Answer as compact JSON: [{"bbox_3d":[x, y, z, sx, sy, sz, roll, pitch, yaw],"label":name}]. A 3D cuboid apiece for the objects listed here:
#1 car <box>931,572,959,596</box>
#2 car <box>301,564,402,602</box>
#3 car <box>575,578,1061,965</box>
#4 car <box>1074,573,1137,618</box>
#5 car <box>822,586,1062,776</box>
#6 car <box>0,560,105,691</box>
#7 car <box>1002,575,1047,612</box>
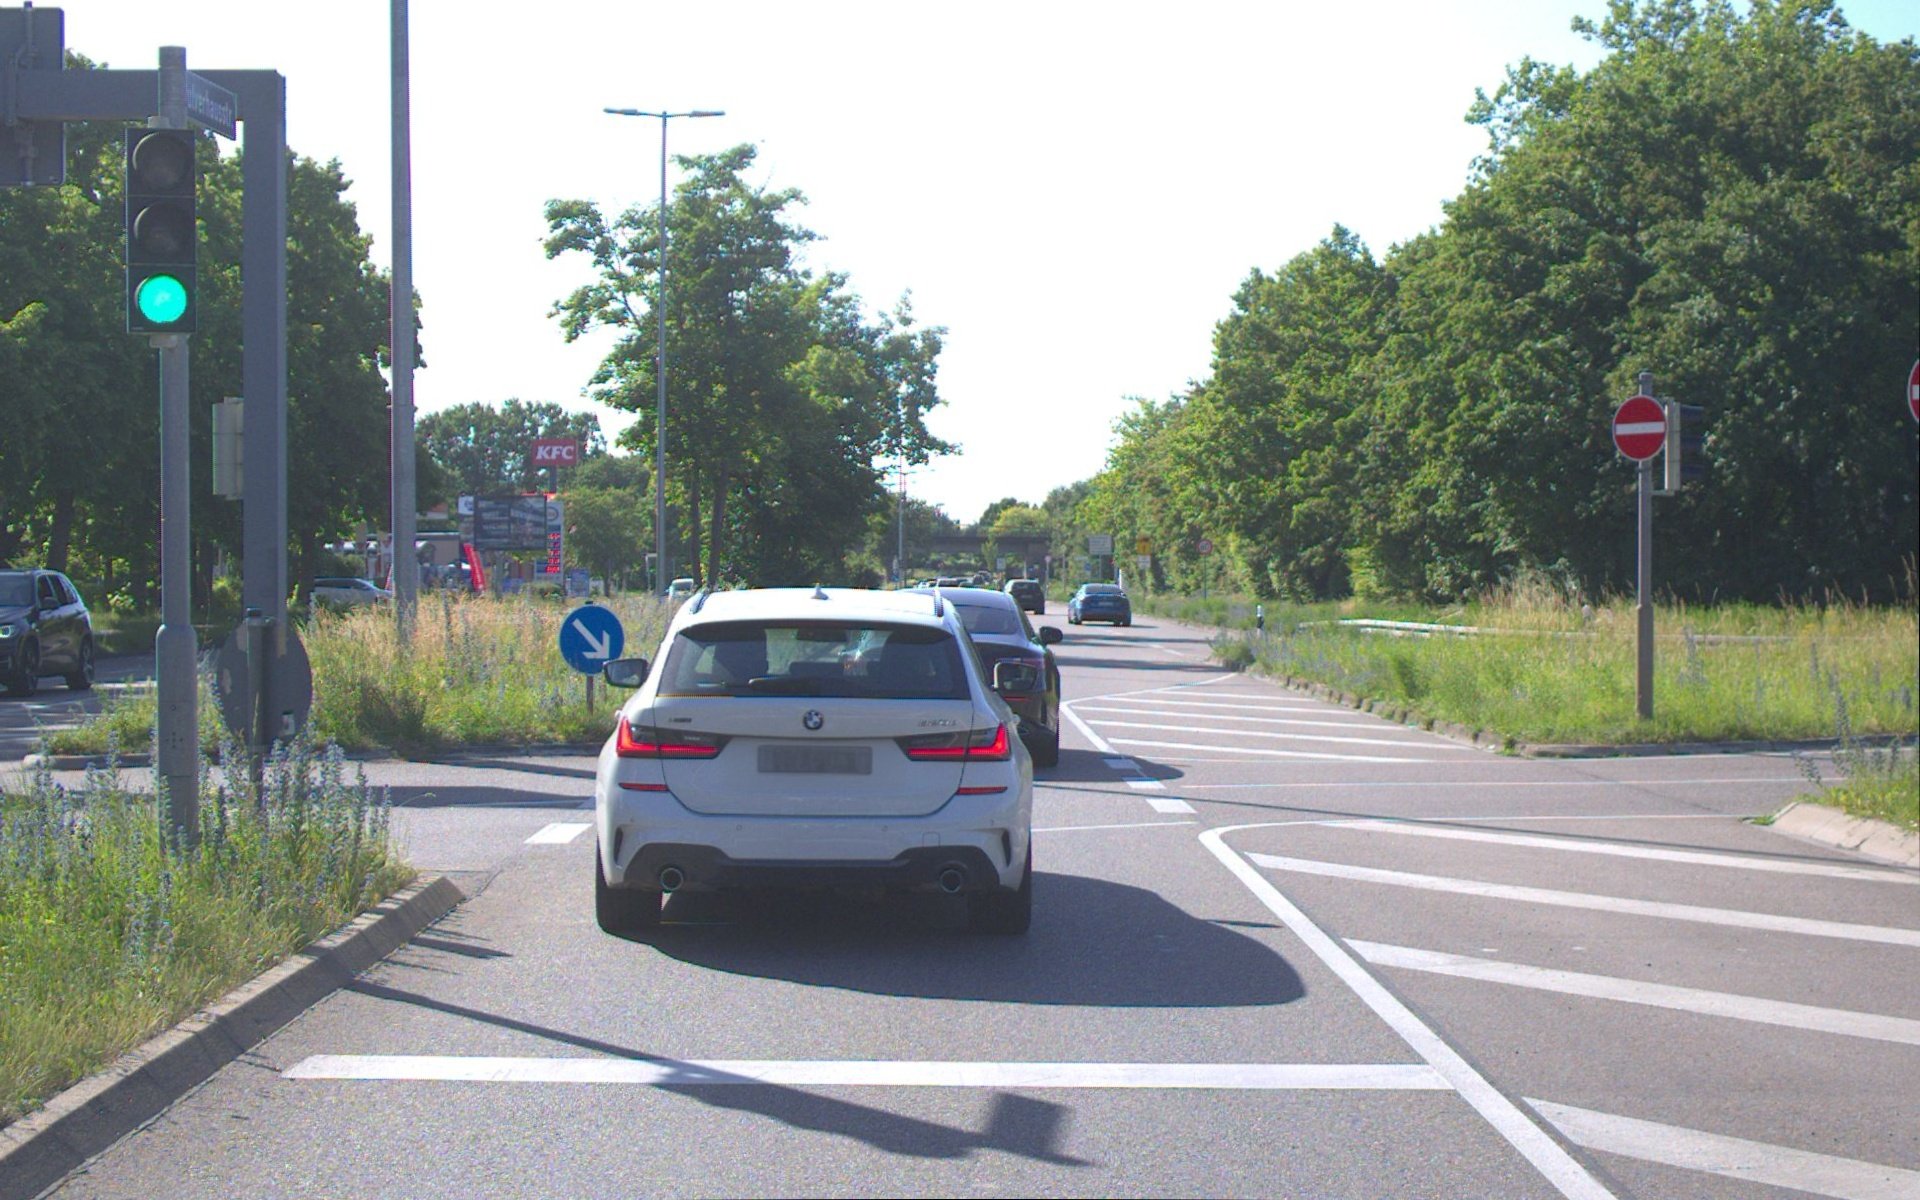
[{"bbox_3d":[-1.001,-1.082,227.544,1.861,1.560,4.548,0,1,-1],"label":"car"},{"bbox_3d":[-26.988,-0.760,152.538,4.110,1.656,1.893,0,1,2],"label":"car"},{"bbox_3d":[-0.557,0.652,15.624,1.861,1.450,4.547,1,1,0],"label":"car"},{"bbox_3d":[4.961,-0.161,117.565,1.861,1.494,4.337,0,0,-1],"label":"car"},{"bbox_3d":[-0.166,0.619,28.929,1.861,1.450,4.548,0,0,-1],"label":"car"},{"bbox_3d":[-13.318,0.327,47.323,1.942,1.691,4.630,-2,1,-1],"label":"car"},{"bbox_3d":[2.789,-0.299,149.936,1.771,1.550,3.833,0,1,-2],"label":"car"}]
